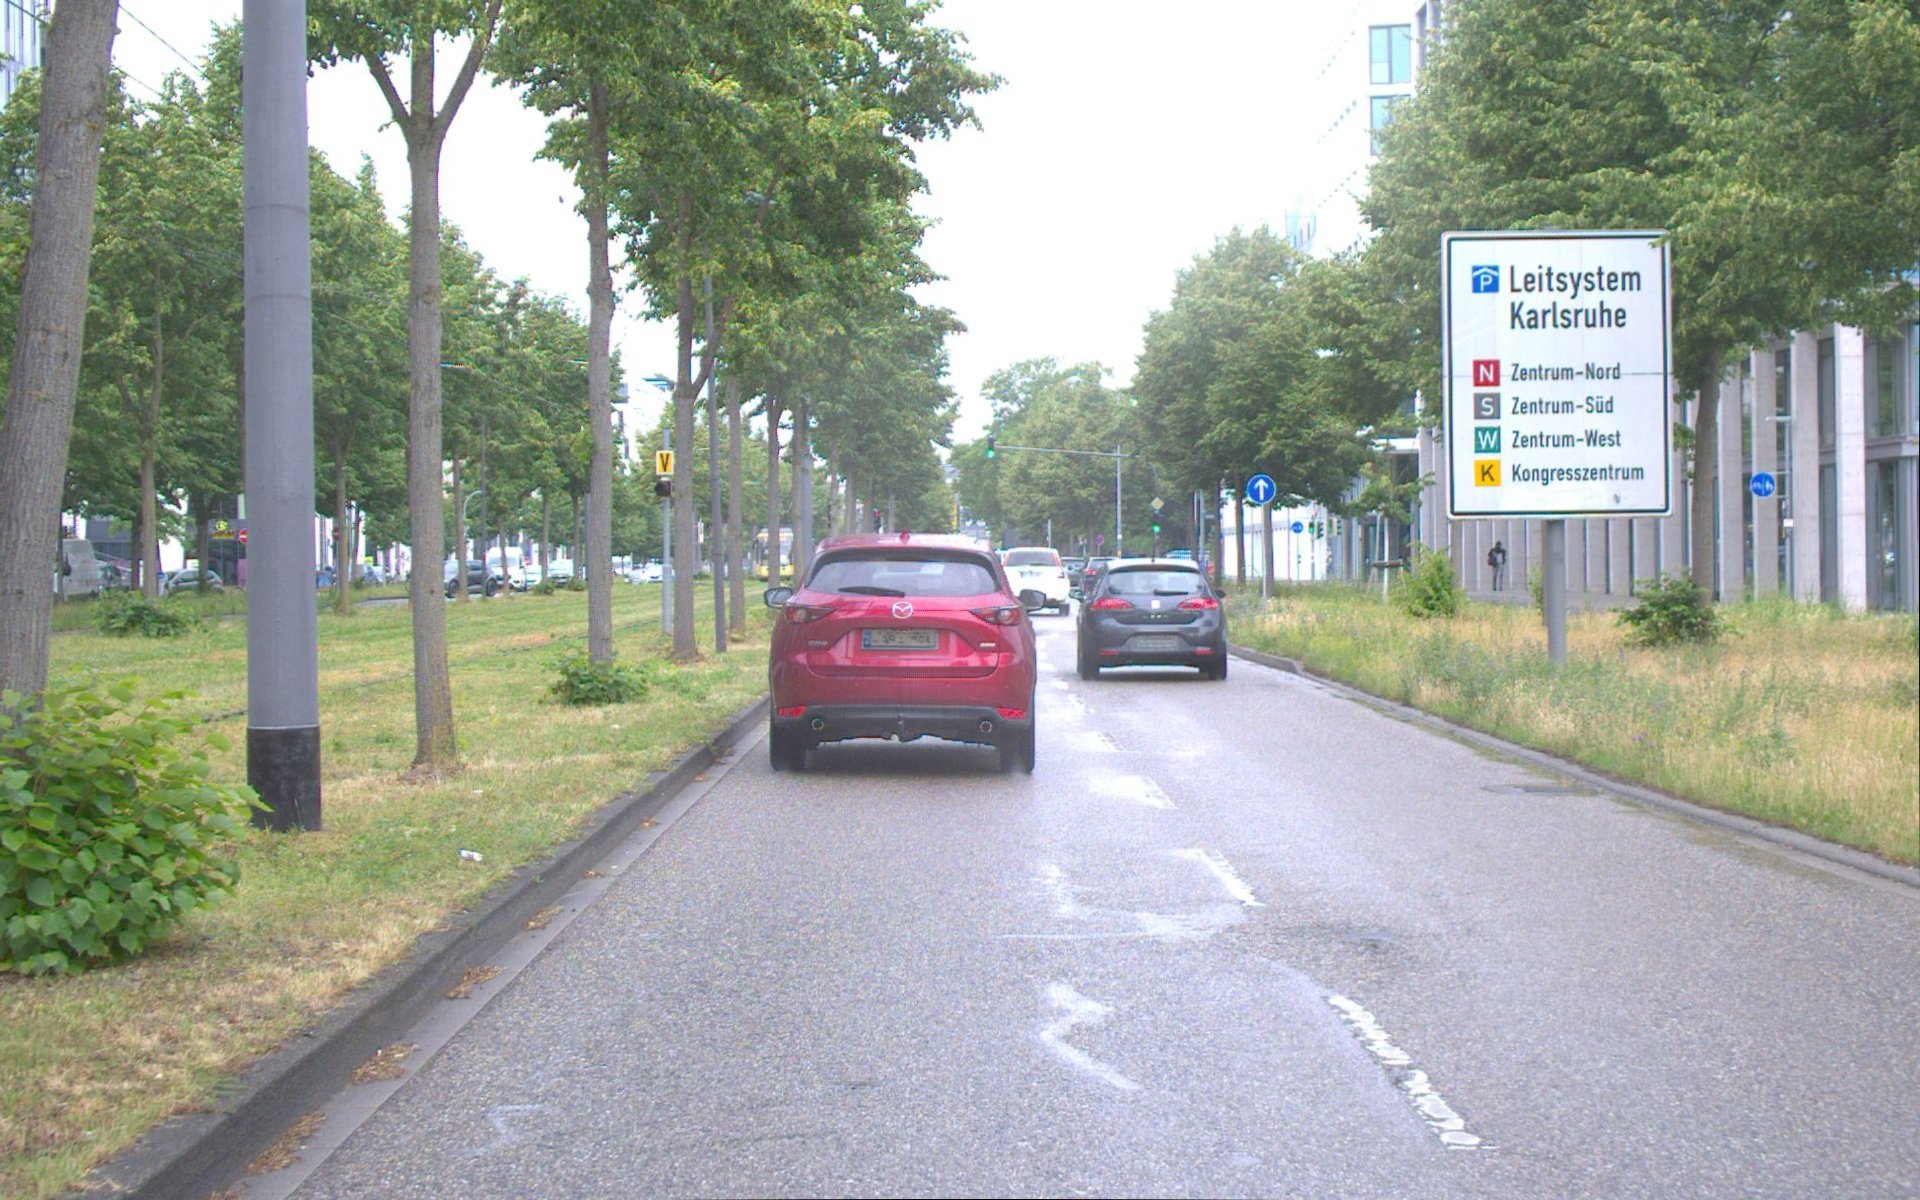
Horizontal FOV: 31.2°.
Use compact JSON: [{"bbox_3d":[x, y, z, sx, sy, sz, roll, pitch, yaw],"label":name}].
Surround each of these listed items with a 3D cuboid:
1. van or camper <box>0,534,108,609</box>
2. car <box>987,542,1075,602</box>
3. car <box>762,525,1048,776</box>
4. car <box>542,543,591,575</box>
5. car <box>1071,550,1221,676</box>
[{"bbox_3d":[-29.037,-0.939,109.266,2.433,2.307,5.850,0,1,0],"label":"van or camper"},{"bbox_3d":[1.756,-0.724,86.183,1.967,1.432,4.553,1,1,-2],"label":"car"},{"bbox_3d":[-0.394,0.304,24.883,1.898,1.671,4.000,0,1,-1],"label":"car"},{"bbox_3d":[-19.635,-2.054,171.726,1.863,1.519,4.479,-1,1,0],"label":"car"},{"bbox_3d":[2.313,0.126,42.006,1.744,1.460,3.781,0,1,5],"label":"car"}]
